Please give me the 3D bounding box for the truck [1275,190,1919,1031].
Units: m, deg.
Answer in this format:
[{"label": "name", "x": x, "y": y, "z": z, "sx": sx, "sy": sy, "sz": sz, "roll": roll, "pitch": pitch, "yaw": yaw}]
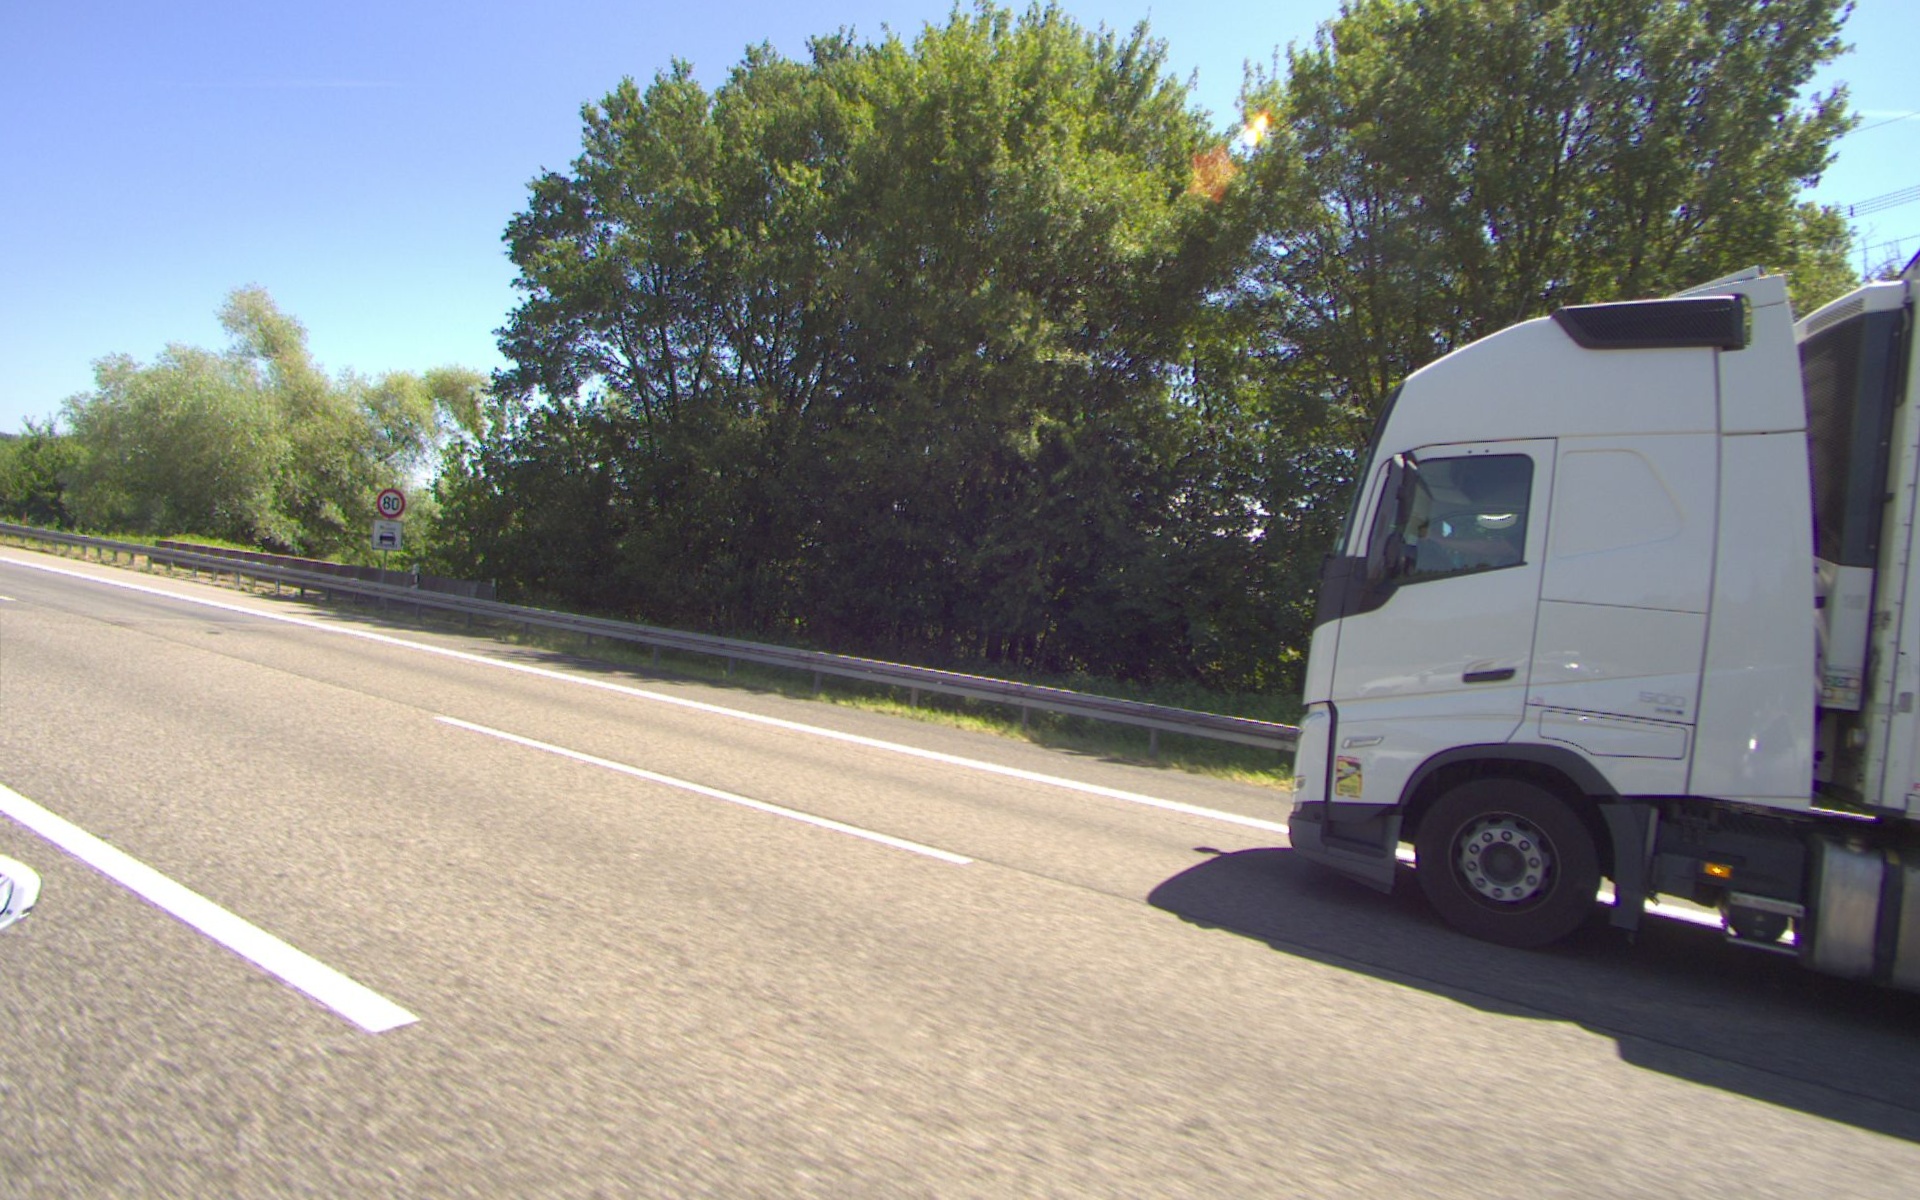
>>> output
[{"label": "truck", "x": 7.598, "y": 0.375, "z": 4.916, "sx": 10.797, "sy": 4.141, "sz": 3.030, "roll": 6, "pitch": -1, "yaw": 32}]
